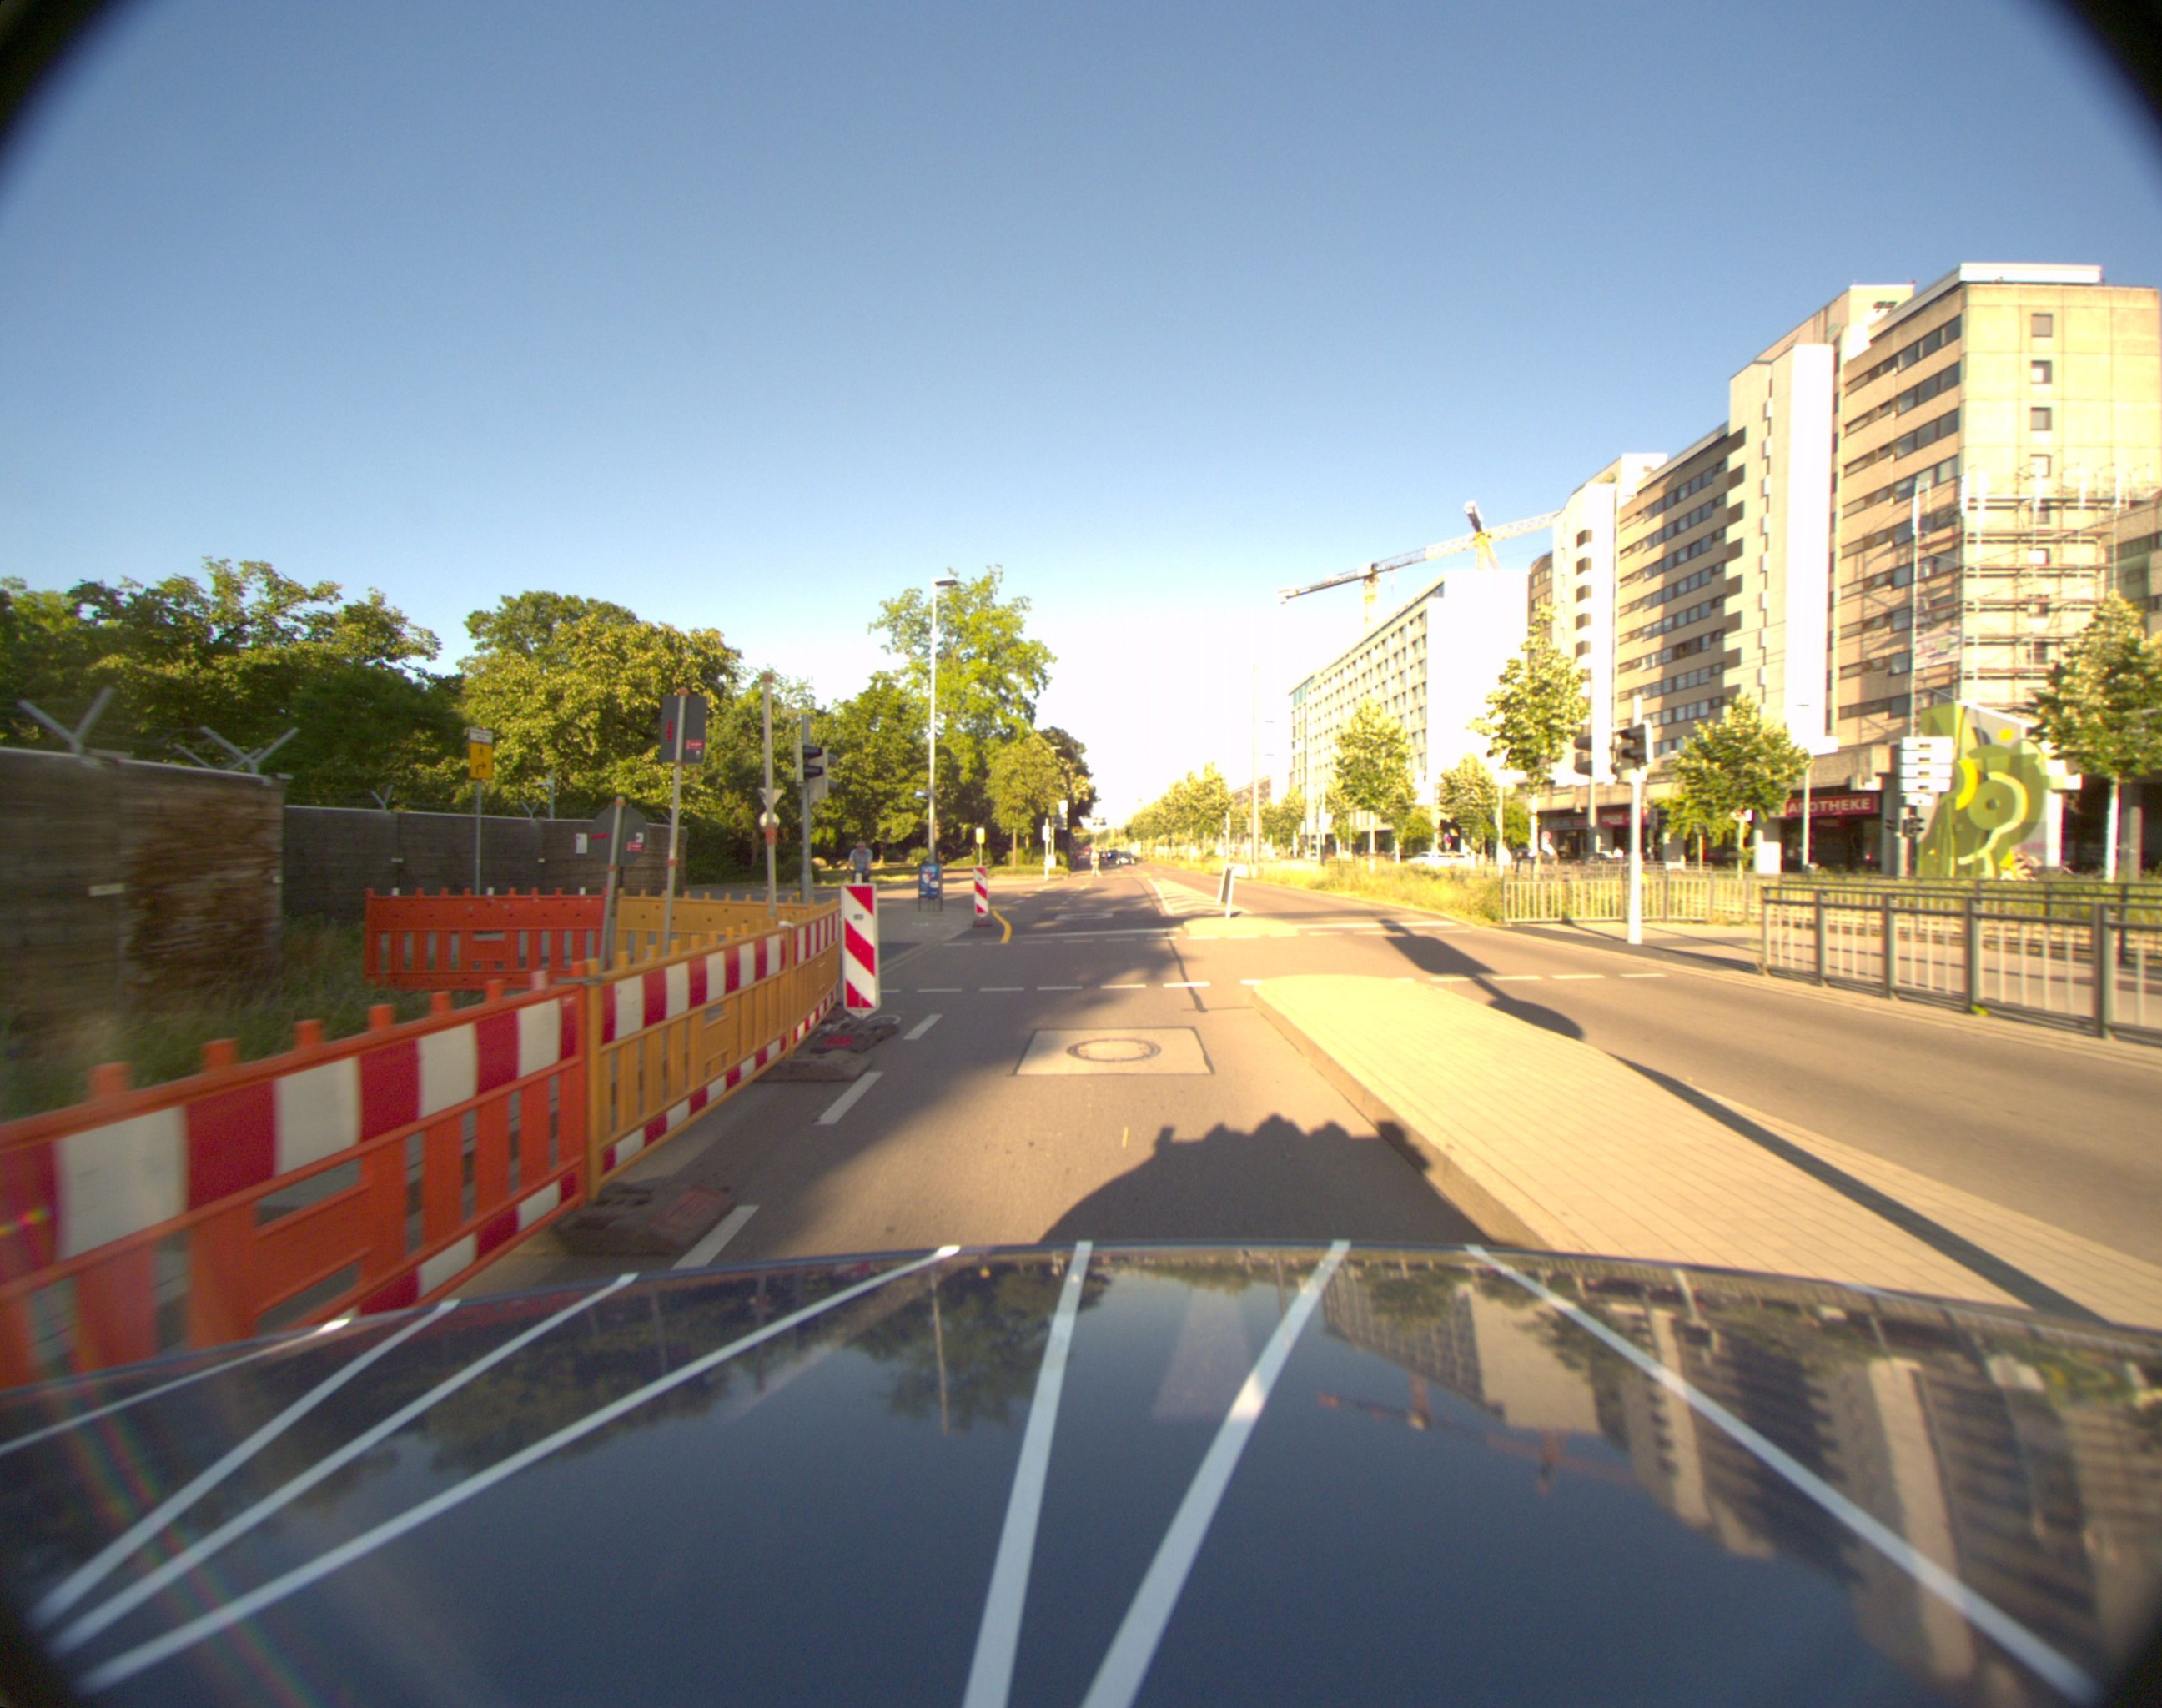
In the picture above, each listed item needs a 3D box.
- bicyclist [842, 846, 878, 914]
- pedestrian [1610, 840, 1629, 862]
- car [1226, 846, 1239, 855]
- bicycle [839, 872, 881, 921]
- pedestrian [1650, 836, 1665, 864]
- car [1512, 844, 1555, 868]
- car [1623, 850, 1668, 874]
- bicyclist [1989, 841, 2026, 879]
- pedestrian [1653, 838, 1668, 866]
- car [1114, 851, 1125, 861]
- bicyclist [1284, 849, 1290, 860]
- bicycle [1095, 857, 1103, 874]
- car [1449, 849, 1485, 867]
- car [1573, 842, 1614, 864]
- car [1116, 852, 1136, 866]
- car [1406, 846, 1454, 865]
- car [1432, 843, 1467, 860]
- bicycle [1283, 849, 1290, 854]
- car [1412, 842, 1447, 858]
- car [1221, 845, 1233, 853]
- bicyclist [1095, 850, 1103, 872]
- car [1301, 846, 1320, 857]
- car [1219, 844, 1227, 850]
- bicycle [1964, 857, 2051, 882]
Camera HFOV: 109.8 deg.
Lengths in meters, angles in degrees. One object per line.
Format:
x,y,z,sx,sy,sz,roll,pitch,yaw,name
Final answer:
-5.322,0.611,18.335,0.585,1.605,0.903,0,1,0,bicyclist
40.219,-0.199,56.761,0.776,1.630,0.882,0,1,0,pedestrian
31.680,-0.713,158.714,1.874,1.579,4.638,-2,1,1,car
-5.369,1.000,18.583,0.429,1.055,1.911,0,1,1,bicycle
41.409,-0.298,54.547,0.549,2.002,0.654,0,1,0,pedestrian
35.199,0.136,59.070,4.204,1.681,1.617,-3,2,-40,car
34.491,0.486,46.417,3.472,1.266,1.616,-4,2,-43,car
35.046,0.221,28.746,0.737,1.386,0.715,-1,1,-24,bicyclist
42.569,-0.152,55.798,0.549,2.002,0.654,0,1,0,pedestrian
5.865,0.332,115.501,1.591,1.449,4.000,0,1,1,car
32.121,0.016,118.382,0.559,1.735,0.919,0,1,-1,bicyclist
1.138,0.710,48.034,0.506,1.018,1.505,0,1,1,bicycle
35.092,0.322,69.021,3.800,1.436,1.616,-4,2,-43,car
35.351,-0.081,52.368,3.472,1.394,1.616,-4,2,-43,car
4.661,0.472,79.185,1.998,1.346,4.000,0,1,2,car
28.356,0.122,61.933,1.781,1.455,4.661,-1,1,0,car
34.869,-0.256,71.868,3.808,1.436,1.785,-4,2,-45,car
32.095,-0.422,118.531,0.437,0.858,2.102,0,1,-1,bicycle
34.625,-0.404,75.533,4.555,1.436,1.616,-4,2,-45,car
33.016,-1.122,172.379,1.874,1.693,4.487,-2,1,1,car
1.139,0.433,48.047,0.516,1.399,0.805,0,1,0,bicyclist
34.590,-0.408,114.456,1.874,1.458,3.389,-2,1,1,car
37.318,-1.800,199.725,1.613,1.370,3.878,-2,1,1,car
35.159,0.571,28.870,0.507,0.886,2.027,-1,1,-23,bicycle
